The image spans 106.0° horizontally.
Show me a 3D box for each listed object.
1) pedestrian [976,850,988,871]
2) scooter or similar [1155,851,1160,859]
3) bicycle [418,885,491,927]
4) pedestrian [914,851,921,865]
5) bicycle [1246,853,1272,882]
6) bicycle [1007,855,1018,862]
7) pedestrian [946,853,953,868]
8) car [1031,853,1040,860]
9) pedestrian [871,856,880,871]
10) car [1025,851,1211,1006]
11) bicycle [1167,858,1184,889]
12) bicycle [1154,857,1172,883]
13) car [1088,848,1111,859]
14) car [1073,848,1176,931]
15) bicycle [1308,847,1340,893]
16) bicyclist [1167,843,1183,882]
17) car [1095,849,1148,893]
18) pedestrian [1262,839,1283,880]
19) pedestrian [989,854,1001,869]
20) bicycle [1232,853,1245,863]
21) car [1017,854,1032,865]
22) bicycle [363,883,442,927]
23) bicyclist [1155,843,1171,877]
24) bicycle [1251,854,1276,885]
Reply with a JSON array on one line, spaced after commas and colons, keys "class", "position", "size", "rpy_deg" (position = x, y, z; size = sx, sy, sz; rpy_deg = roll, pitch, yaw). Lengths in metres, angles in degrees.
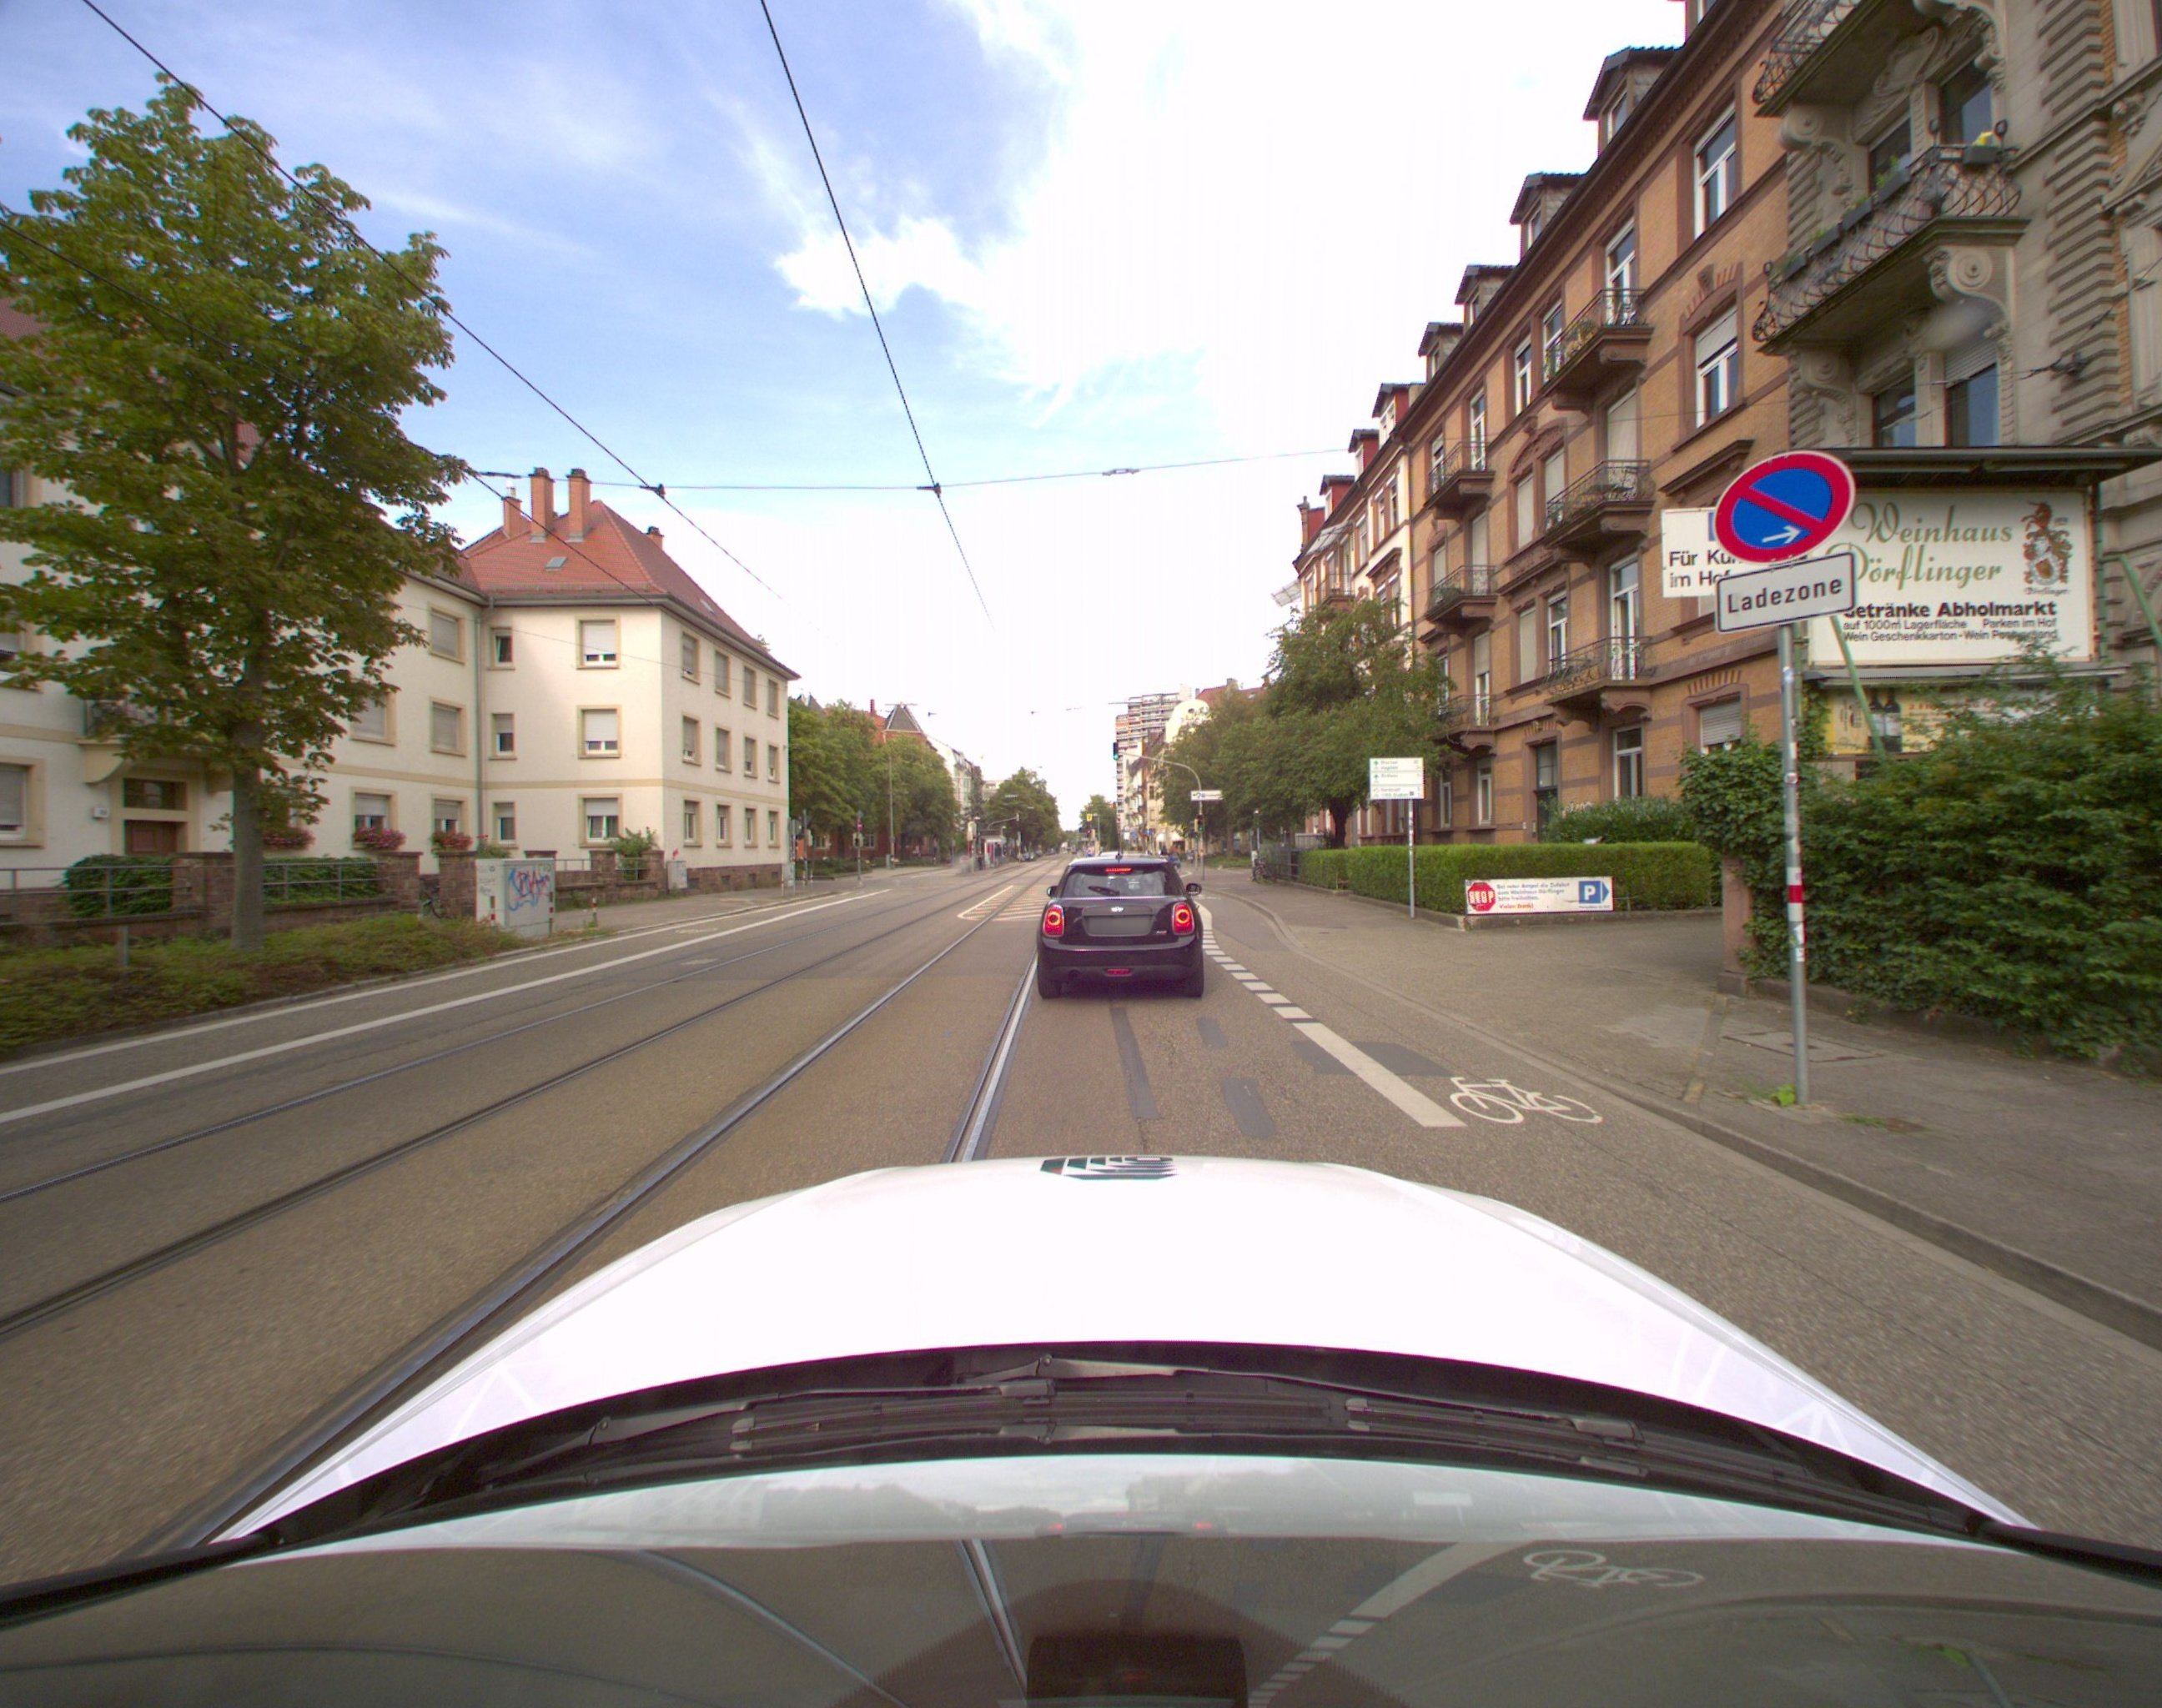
[{"class": "pedestrian", "position": [-7.848, 0.541, 64.676], "size": [0.850, 1.621, 0.841], "rpy_deg": [-1, 0, -6]}, {"class": "scooter or similar", "position": [10.923, 0.116, 116.266], "size": [0.507, 1.188, 1.261], "rpy_deg": [-2, 0, 0]}, {"class": "bicycle", "position": [-15.284, 1.251, 19.923], "size": [0.476, 0.915, 1.672], "rpy_deg": [-2, 0, 0]}, {"class": "pedestrian", "position": [-20.531, 0.489, 102.215], "size": [0.831, 1.703, 0.731], "rpy_deg": [-1, 0, -6]}, {"class": "bicycle", "position": [7.189, 0.536, 33.021], "size": [0.669, 1.106, 1.672], "rpy_deg": [-2, 0, 0]}, {"class": "bicycle", "position": [-11.423, 0.793, 135.685], "size": [1.681, 1.119, 0.566], "rpy_deg": [-2, 0, -40]}, {"class": "pedestrian", "position": [-15.365, 0.756, 95.067], "size": [0.691, 1.719, 0.758], "rpy_deg": [-1, 0, 1]}, {"class": "car", "position": [-11.424, 0.585, 204.807], "size": [1.987, 1.552, 4.000], "rpy_deg": [-1, 0, 0]}, {"class": "pedestrian", "position": [-24.328, 1.158, 96.320], "size": [0.831, 1.703, 0.731], "rpy_deg": [-1, 0, -6]}, {"class": "car", "position": [0.475, 0.709, 9.781], "size": [1.744, 1.441, 4.004], "rpy_deg": [-1, 0, 3]}, {"class": "bicycle", "position": [3.817, 0.786, 33.018], "size": [0.595, 1.170, 1.699], "rpy_deg": [-2, 0, 5]}, {"class": "bicycle", "position": [3.826, 0.737, 37.990], "size": [0.681, 1.170, 1.697], "rpy_deg": [-2, 0, 2]}, {"class": "car", "position": [4.204, -0.114, 187.591], "size": [5.066, 2.272, 2.368], "rpy_deg": [-1, 0, -41]}, {"class": "car", "position": [0.922, 0.668, 17.379], "size": [1.919, 1.510, 4.003], "rpy_deg": [-1, 0, 3]}, {"class": "bicycle", "position": [7.137, 0.445, 23.972], "size": [0.514, 1.282, 1.551], "rpy_deg": [-2, 0, 2]}, {"class": "bicyclist", "position": [3.805, 0.339, 33.007], "size": [0.591, 1.550, 1.015], "rpy_deg": [-2, 0, 5]}, {"class": "car", "position": [1.452, 0.552, 29.534], "size": [1.745, 1.441, 4.482], "rpy_deg": [-1, 0, 2]}, {"class": "pedestrian", "position": [8.246, 0.228, 35.109], "size": [0.727, 1.754, 0.951], "rpy_deg": [-1, 0, 4]}, {"class": "pedestrian", "position": [-7.686, 0.684, 72.718], "size": [1.057, 1.293, 0.984], "rpy_deg": [-1, 0, -6]}, {"class": "bicycle", "position": [18.159, 0.423, 93.931], "size": [0.526, 1.128, 1.905], "rpy_deg": [-1, 0, 42]}, {"class": "car", "position": [-8.079, 0.766, 116.975], "size": [1.745, 1.441, 4.001], "rpy_deg": [1, 0, 2]}, {"class": "bicycle", "position": [-16.252, 1.200, 19.556], "size": [0.476, 0.915, 1.672], "rpy_deg": [-2, 0, 0]}, {"class": "bicyclist", "position": [3.815, 0.278, 37.933], "size": [0.681, 1.564, 0.998], "rpy_deg": [-2, 0, 2]}, {"class": "bicycle", "position": [6.764, 0.563, 30.294], "size": [0.507, 1.088, 1.550], "rpy_deg": [-5, 0, 0]}]
